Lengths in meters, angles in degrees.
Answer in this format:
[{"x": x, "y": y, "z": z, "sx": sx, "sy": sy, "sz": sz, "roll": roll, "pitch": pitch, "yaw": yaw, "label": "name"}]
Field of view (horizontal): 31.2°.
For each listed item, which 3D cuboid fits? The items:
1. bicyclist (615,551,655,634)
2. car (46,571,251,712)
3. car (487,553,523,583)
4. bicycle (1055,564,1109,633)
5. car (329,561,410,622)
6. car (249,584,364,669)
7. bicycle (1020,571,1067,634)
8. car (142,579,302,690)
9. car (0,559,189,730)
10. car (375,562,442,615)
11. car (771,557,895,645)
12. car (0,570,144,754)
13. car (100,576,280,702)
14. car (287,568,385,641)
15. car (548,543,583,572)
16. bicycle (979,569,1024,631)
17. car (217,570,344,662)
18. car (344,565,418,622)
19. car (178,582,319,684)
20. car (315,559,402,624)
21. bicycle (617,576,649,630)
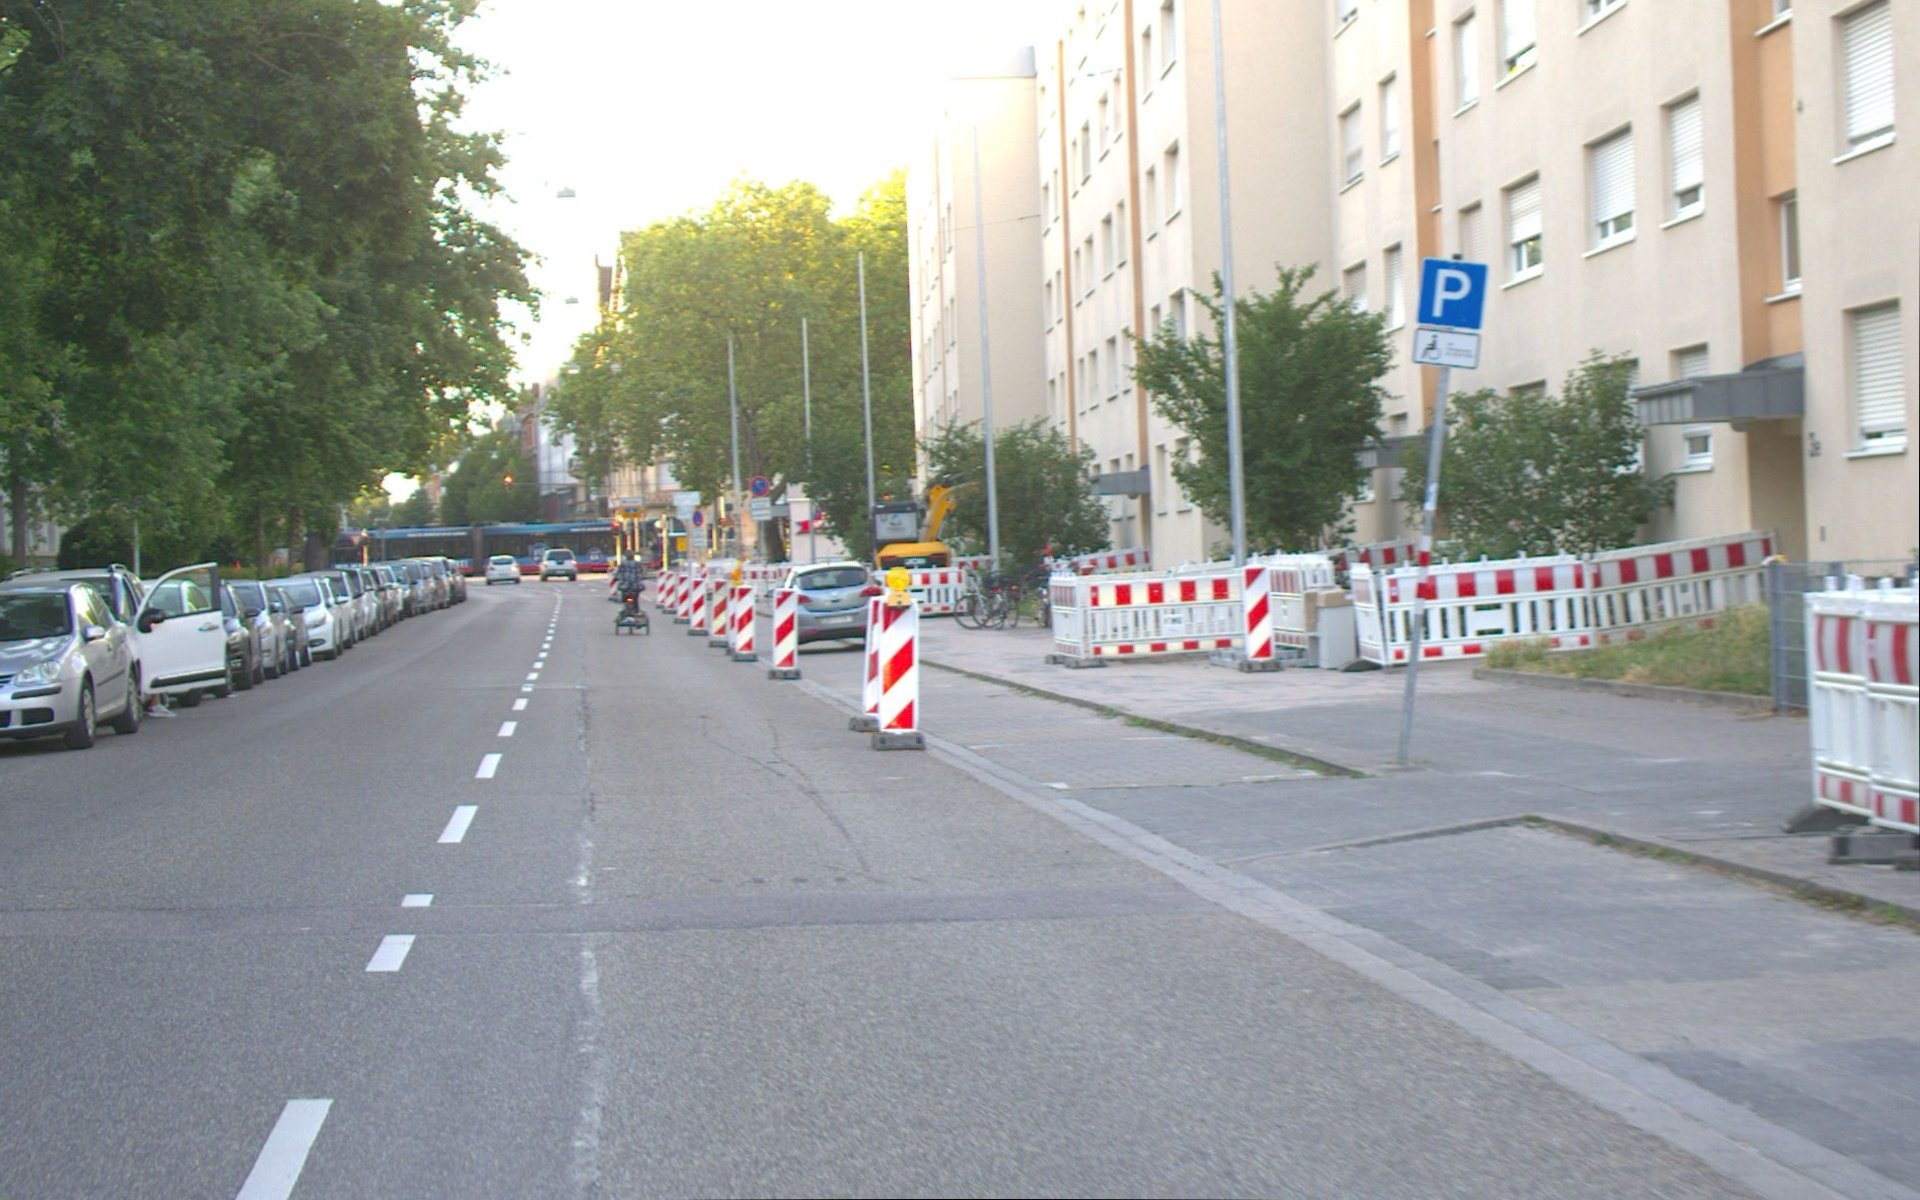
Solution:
[{"x": -7.118, "y": -0.169, "z": 75.299, "sx": 0.791, "sy": 1.794, "sz": 1.017, "roll": -2, "pitch": 1, "yaw": -6, "label": "bicyclist"}, {"x": -9.558, "y": 0.450, "z": 40.773, "sx": 1.756, "sy": 1.438, "sz": 3.928, "roll": -5, "pitch": 1, "yaw": -6, "label": "car"}, {"x": -24.210, "y": -1.696, "z": 182.842, "sx": 1.756, "sy": 1.438, "sz": 3.454, "roll": -5, "pitch": 1, "yaw": -8, "label": "car"}, {"x": 2.022, "y": -0.034, "z": 57.219, "sx": 0.617, "sy": 1.103, "sz": 2.235, "roll": -2, "pitch": 1, "yaw": -4, "label": "bicycle"}, {"x": -15.670, "y": -0.240, "z": 91.343, "sx": 1.756, "sy": 1.438, "sz": 3.454, "roll": -5, "pitch": 1, "yaw": -6, "label": "car"}, {"x": -12.452, "y": 0.482, "z": 65.710, "sx": 1.756, "sy": 1.438, "sz": 3.454, "roll": -5, "pitch": 1, "yaw": -6, "label": "car"}, {"x": 1.522, "y": 0.038, "z": 63.064, "sx": 0.617, "sy": 1.103, "sz": 2.235, "roll": -2, "pitch": 1, "yaw": -4, "label": "bicycle"}, {"x": -10.803, "y": 0.474, "z": 50.516, "sx": 1.778, "sy": 1.419, "sz": 3.747, "roll": -5, "pitch": 1, "yaw": -6, "label": "car"}, {"x": -9.331, "y": 0.440, "z": 36.290, "sx": 1.756, "sy": 1.598, "sz": 3.928, "roll": -5, "pitch": 1, "yaw": -6, "label": "car"}, {"x": -16.483, "y": -0.367, "z": 102.863, "sx": 1.652, "sy": 1.438, "sz": 3.454, "roll": -5, "pitch": 1, "yaw": -6, "label": "car"}, {"x": -2.175, "y": -0.006, "z": 58.095, "sx": 1.779, "sy": 1.385, "sz": 4.001, "roll": -2, "pitch": 1, "yaw": -6, "label": "car"}, {"x": -8.439, "y": 0.541, "z": 30.409, "sx": 1.756, "sy": 1.478, "sz": 3.928, "roll": -5, "pitch": 1, "yaw": -6, "label": "car"}, {"x": -10.111, "y": 0.481, "z": 45.394, "sx": 1.756, "sy": 1.438, "sz": 3.928, "roll": -5, "pitch": 1, "yaw": -6, "label": "car"}, {"x": -13.829, "y": 0.077, "z": 76.338, "sx": 1.756, "sy": 1.438, "sz": 3.454, "roll": -5, "pitch": 1, "yaw": -6, "label": "car"}, {"x": -22.061, "y": -2.356, "z": 192.105, "sx": 1.694, "sy": 1.438, "sz": 3.455, "roll": -5, "pitch": 1, "yaw": -9, "label": "car"}, {"x": 0.756, "y": -0.012, "z": 63.519, "sx": 0.617, "sy": 1.103, "sz": 2.235, "roll": -2, "pitch": 1, "yaw": -4, "label": "bicycle"}, {"x": -11.941, "y": 0.259, "z": 60.596, "sx": 1.756, "sy": 1.438, "sz": 3.454, "roll": -5, "pitch": 1, "yaw": -6, "label": "car"}, {"x": -16.455, "y": -0.203, "z": 97.801, "sx": 1.756, "sy": 1.438, "sz": 3.454, "roll": -5, "pitch": 1, "yaw": -6, "label": "car"}, {"x": -11.407, "y": 0.499, "z": 55.289, "sx": 1.756, "sy": 1.438, "sz": 3.454, "roll": -5, "pitch": 1, "yaw": -6, "label": "car"}, {"x": -14.768, "y": -0.224, "z": 84.543, "sx": 1.756, "sy": 1.438, "sz": 3.454, "roll": -5, "pitch": 1, "yaw": -6, "label": "car"}, {"x": -7.092, "y": 0.060, "z": 74.545, "sx": 0.641, "sy": 1.111, "sz": 3.056, "roll": -2, "pitch": 1, "yaw": -6, "label": "bicycle"}]
